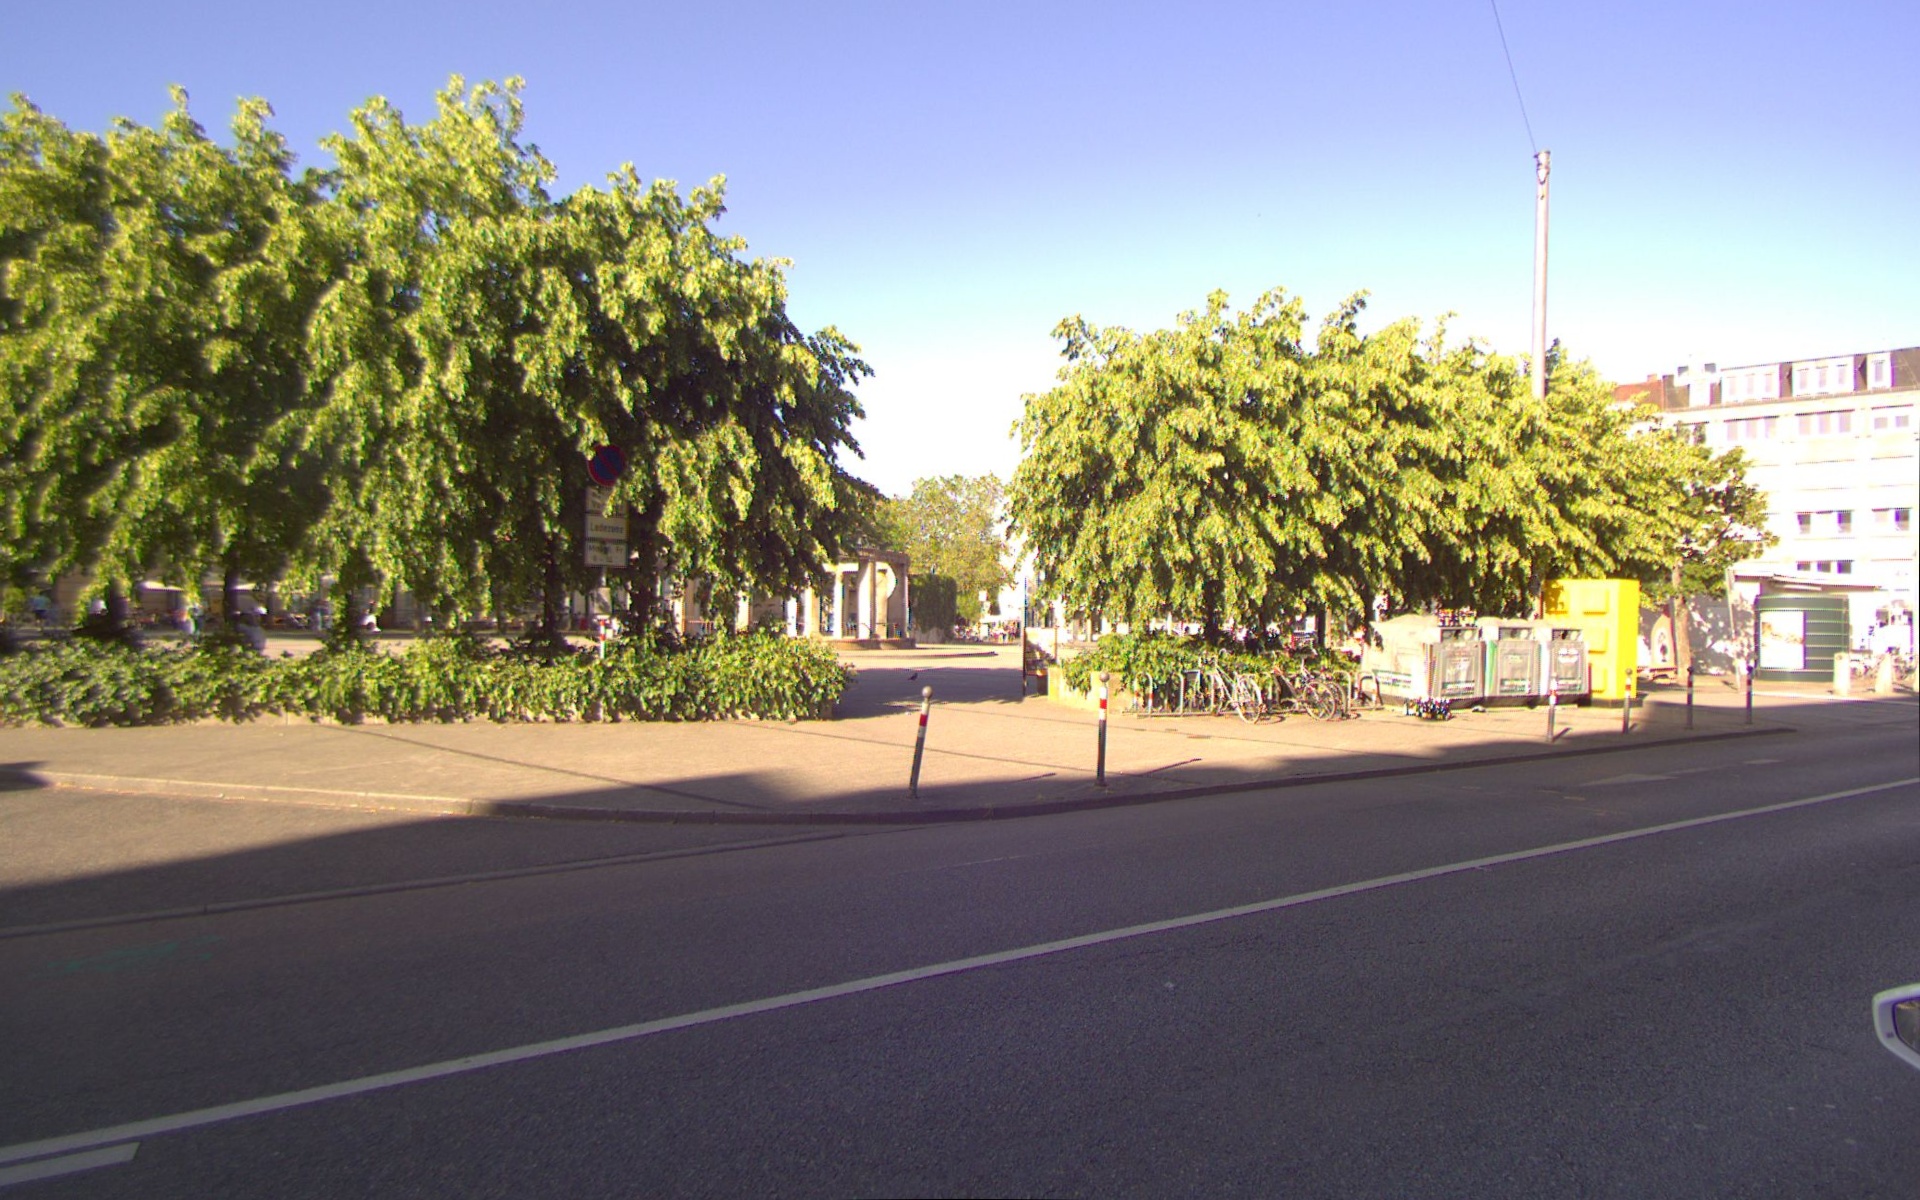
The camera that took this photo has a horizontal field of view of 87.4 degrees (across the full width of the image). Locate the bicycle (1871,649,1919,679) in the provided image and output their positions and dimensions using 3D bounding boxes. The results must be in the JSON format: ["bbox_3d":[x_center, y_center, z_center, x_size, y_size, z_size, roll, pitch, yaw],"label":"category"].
[{"bbox_3d":[33.178,2.244,35.135,0.599,0.946,1.855,1,-1,-30],"label":"bicycle"}]

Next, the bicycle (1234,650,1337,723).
[{"bbox_3d":[5.246,1.367,16.311,0.508,1.016,1.923,2,0,-20],"label":"bicycle"}]

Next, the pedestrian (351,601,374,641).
[{"bbox_3d":[-26.664,0.926,44.860,0.598,1.744,0.645,2,0,32],"label":"pedestrian"}]

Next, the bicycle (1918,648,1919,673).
[{"bbox_3d":[37.053,2.324,37.451,0.599,0.946,1.854,2,0,-30],"label":"bicycle"}]

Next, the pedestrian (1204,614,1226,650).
[{"bbox_3d":[12.250,1.519,48.278,0.774,1.720,0.763,1,0,-6],"label":"pedestrian"}]

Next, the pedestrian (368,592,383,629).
[{"bbox_3d":[-32.040,0.585,55.074,0.669,1.974,0.634,2,0,-33],"label":"pedestrian"}]

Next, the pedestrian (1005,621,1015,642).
[{"bbox_3d":[4.470,2.849,89.905,0.718,1.862,0.697,2,0,-5],"label":"pedestrian"}]

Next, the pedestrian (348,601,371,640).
[{"bbox_3d":[-26.859,0.920,44.919,0.599,1.744,0.644,2,0,37],"label":"pedestrian"}]

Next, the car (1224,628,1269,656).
[{"bbox_3d":[15.646,2.287,54.987,1.658,1.405,3.575,1,-1,5],"label":"car"}]

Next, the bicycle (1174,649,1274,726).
[{"bbox_3d":[4.072,1.329,15.653,0.508,1.029,1.930,2,0,-19],"label":"bicycle"}]

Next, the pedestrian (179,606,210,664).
[{"bbox_3d":[-23.518,1.073,30.861,0.599,1.744,0.644,2,0,41],"label":"pedestrian"}]

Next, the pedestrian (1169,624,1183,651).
[{"bbox_3d":[14.227,2.441,66.174,0.741,1.740,0.854,1,-1,4],"label":"pedestrian"}]

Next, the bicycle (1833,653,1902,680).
[{"bbox_3d":[30.823,2.247,34.124,0.600,0.802,1.634,2,0,-33],"label":"bicycle"}]

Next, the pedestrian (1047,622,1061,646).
[{"bbox_3d":[8.251,2.943,87.968,1.014,2.040,1.159,2,0,-5],"label":"pedestrian"}]

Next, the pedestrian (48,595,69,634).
[{"bbox_3d":[-40.934,0.661,45.600,0.600,1.744,0.643,2,0,45],"label":"pedestrian"}]

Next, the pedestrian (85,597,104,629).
[{"bbox_3d":[-48.324,0.715,56.077,0.599,1.744,0.644,2,0,39],"label":"pedestrian"}]

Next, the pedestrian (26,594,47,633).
[{"bbox_3d":[-42.305,0.621,46.008,0.600,1.744,0.643,2,0,45],"label":"pedestrian"}]

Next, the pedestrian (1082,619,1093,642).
[{"bbox_3d":[12.674,3.032,99.739,0.860,2.199,0.902,2,0,-5],"label":"pedestrian"}]

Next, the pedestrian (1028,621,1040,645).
[{"bbox_3d":[6.525,2.901,89.044,0.860,2.040,0.902,2,0,-5],"label":"pedestrian"}]

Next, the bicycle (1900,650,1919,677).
[{"bbox_3d":[35.046,2.332,36.028,0.599,0.946,1.854,2,0,-30],"label":"bicycle"}]

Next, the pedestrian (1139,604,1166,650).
[{"bbox_3d":[8.760,1.234,45.673,0.875,2.040,0.896,1,0,-17],"label":"pedestrian"}]

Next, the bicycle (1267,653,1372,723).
[{"bbox_3d":[5.828,1.404,16.414,0.508,0.968,1.898,2,0,-20],"label":"bicycle"}]

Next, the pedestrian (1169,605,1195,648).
[{"bbox_3d":[10.729,1.285,48.553,0.875,2.040,0.896,1,0,-17],"label":"pedestrian"}]
